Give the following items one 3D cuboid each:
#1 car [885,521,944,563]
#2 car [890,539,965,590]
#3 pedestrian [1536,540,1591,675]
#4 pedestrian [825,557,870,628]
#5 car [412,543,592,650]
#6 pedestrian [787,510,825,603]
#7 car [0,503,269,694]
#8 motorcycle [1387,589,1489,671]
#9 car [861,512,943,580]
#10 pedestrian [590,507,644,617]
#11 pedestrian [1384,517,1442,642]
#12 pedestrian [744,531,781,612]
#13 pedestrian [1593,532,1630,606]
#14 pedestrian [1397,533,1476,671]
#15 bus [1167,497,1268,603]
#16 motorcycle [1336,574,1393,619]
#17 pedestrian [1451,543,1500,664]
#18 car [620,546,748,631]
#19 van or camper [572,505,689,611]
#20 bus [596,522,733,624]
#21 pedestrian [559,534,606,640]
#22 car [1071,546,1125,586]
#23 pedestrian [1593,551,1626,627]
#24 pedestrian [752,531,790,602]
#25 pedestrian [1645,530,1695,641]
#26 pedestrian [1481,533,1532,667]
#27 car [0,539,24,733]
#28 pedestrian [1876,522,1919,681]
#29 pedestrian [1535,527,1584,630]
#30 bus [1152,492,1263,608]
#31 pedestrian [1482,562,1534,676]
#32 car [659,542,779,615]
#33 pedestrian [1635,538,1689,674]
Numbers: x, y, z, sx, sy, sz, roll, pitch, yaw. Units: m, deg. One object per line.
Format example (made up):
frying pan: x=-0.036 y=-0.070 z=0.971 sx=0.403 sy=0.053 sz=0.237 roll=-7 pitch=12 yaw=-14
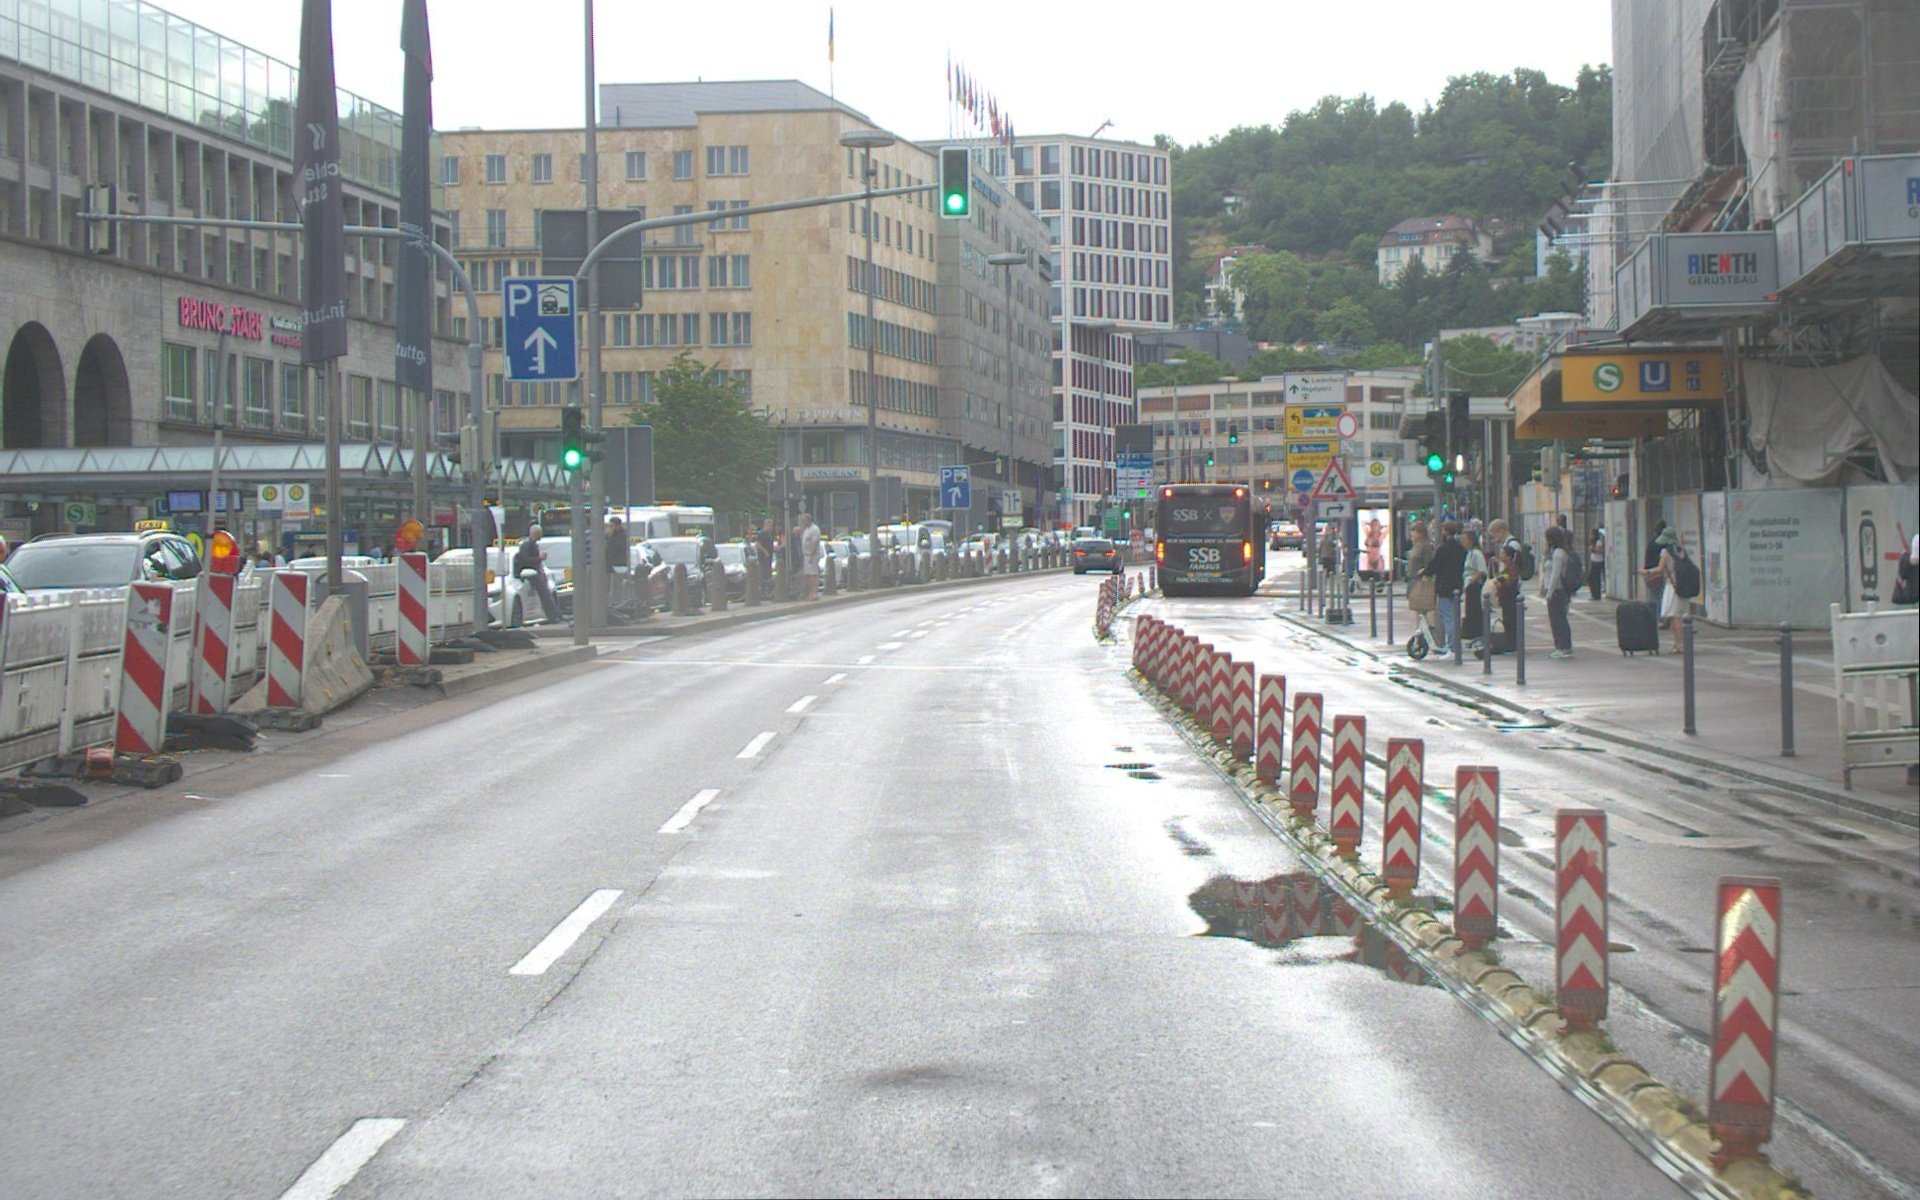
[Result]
car: x=-1.749 y=-2.245 z=133.450 sx=1.994 sy=1.547 sz=4.000 roll=-1 pitch=1 yaw=3
car: x=-1.111 y=-1.249 z=120.474 sx=1.994 sy=1.716 sz=4.781 roll=-1 pitch=1 yaw=7
pedestrian: x=7.540 y=0.084 z=42.986 sx=0.558 sy=1.645 sz=0.614 roll=-3 pitch=1 yaw=7
pedestrian: x=-2.814 y=-0.187 z=86.355 sx=1.050 sy=1.762 sz=0.616 roll=0 pitch=0 yaw=5
car: x=-7.397 y=-0.100 z=55.934 sx=2.015 sy=1.615 sz=4.842 roll=-1 pitch=1 yaw=3
pedestrian: x=-3.363 y=-0.949 z=75.089 sx=0.723 sy=2.001 sz=0.772 roll=1 pitch=1 yaw=6
car: x=-8.915 y=-0.077 z=36.813 sx=1.903 sy=1.891 sz=4.523 roll=1 pitch=2 yaw=3
motorcycle: x=6.104 y=0.374 z=43.967 sx=0.584 sy=1.018 sz=1.239 roll=-1 pitch=1 yaw=-37
car: x=-1.914 y=-1.823 z=115.115 sx=1.994 sy=2.171 sz=5.543 roll=-1 pitch=1 yaw=7
pedestrian: x=-5.643 y=-0.626 z=56.547 sx=0.781 sy=1.769 sz=0.607 roll=-3 pitch=1 yaw=-6
pedestrian: x=6.502 y=-0.293 z=49.366 sx=0.558 sy=1.753 sz=0.752 roll=-3 pitch=1 yaw=-8
pedestrian: x=-4.320 y=-0.632 z=75.131 sx=0.698 sy=1.749 sz=0.711 roll=0 pitch=1 yaw=6
pedestrian: x=13.824 y=-0.658 z=72.959 sx=0.651 sy=1.534 sz=0.665 roll=-3 pitch=1 yaw=7
pedestrian: x=6.092 y=0.018 z=43.973 sx=0.580 sy=1.735 sz=0.822 roll=-1 pitch=1 yaw=-37
bus: x=7.941 y=-1.522 z=105.284 sx=2.756 sy=3.055 sz=8.991 roll=1 pitch=1 yaw=6
motorcycle: x=10.636 y=-0.086 z=90.338 sx=0.586 sy=1.162 sz=1.613 roll=1 pitch=1 yaw=45
pedestrian: x=7.179 y=0.040 z=47.865 sx=0.558 sy=1.635 sz=0.752 roll=-3 pitch=1 yaw=7
car: x=-5.882 y=-0.263 z=73.834 sx=1.930 sy=1.685 sz=4.681 roll=-2 pitch=0 yaw=5
van or camper: x=-8.379 y=-1.092 z=87.784 sx=1.994 sy=2.505 sz=5.370 roll=-3 pitch=1 yaw=4
bus: x=-10.385 y=-1.022 z=121.909 sx=2.878 sy=3.448 sz=10.572 roll=0 pitch=1 yaw=6
pedestrian: x=-6.110 y=-0.214 z=55.642 sx=0.651 sy=1.705 sz=0.593 roll=1 pitch=1 yaw=4
car: x=5.466 y=-1.348 z=136.528 sx=1.993 sy=1.547 sz=4.000 roll=-1 pitch=1 yaw=1
pedestrian: x=16.304 y=-0.279 z=86.308 sx=0.645 sy=1.841 sz=0.658 roll=-3 pitch=1 yaw=6
pedestrian: x=-4.333 y=-0.773 z=78.976 sx=0.723 sy=1.601 sz=0.996 roll=1 pitch=1 yaw=5
pedestrian: x=10.632 y=-0.223 z=51.495 sx=0.549 sy=1.627 sz=0.995 roll=-3 pitch=1 yaw=6
pedestrian: x=7.338 y=-0.004 z=46.160 sx=0.558 sy=1.746 sz=0.711 roll=-3 pitch=1 yaw=7
car: x=-9.528 y=0.392 z=29.017 sx=1.784 sy=1.716 sz=4.483 roll=-1 pitch=2 yaw=3
pedestrian: x=10.347 y=-0.001 z=36.929 sx=0.736 sy=1.672 sz=0.957 roll=-3 pitch=1 yaw=5
pedestrian: x=10.954 y=-0.403 z=62.864 sx=0.723 sy=1.841 sz=0.810 roll=-3 pitch=1 yaw=6
bus: x=6.990 y=-1.397 z=96.278 sx=2.756 sy=3.058 sz=9.078 roll=1 pitch=1 yaw=6
pedestrian: x=7.155 y=0.243 z=44.895 sx=0.558 sy=1.444 sz=0.711 roll=-3 pitch=1 yaw=7
car: x=-5.552 y=-0.503 z=79.921 sx=1.930 sy=1.571 sz=5.260 roll=-2 pitch=0 yaw=5
pedestrian: x=8.723 y=0.072 z=42.735 sx=0.564 sy=1.645 sz=0.614 roll=-3 pitch=1 yaw=10
